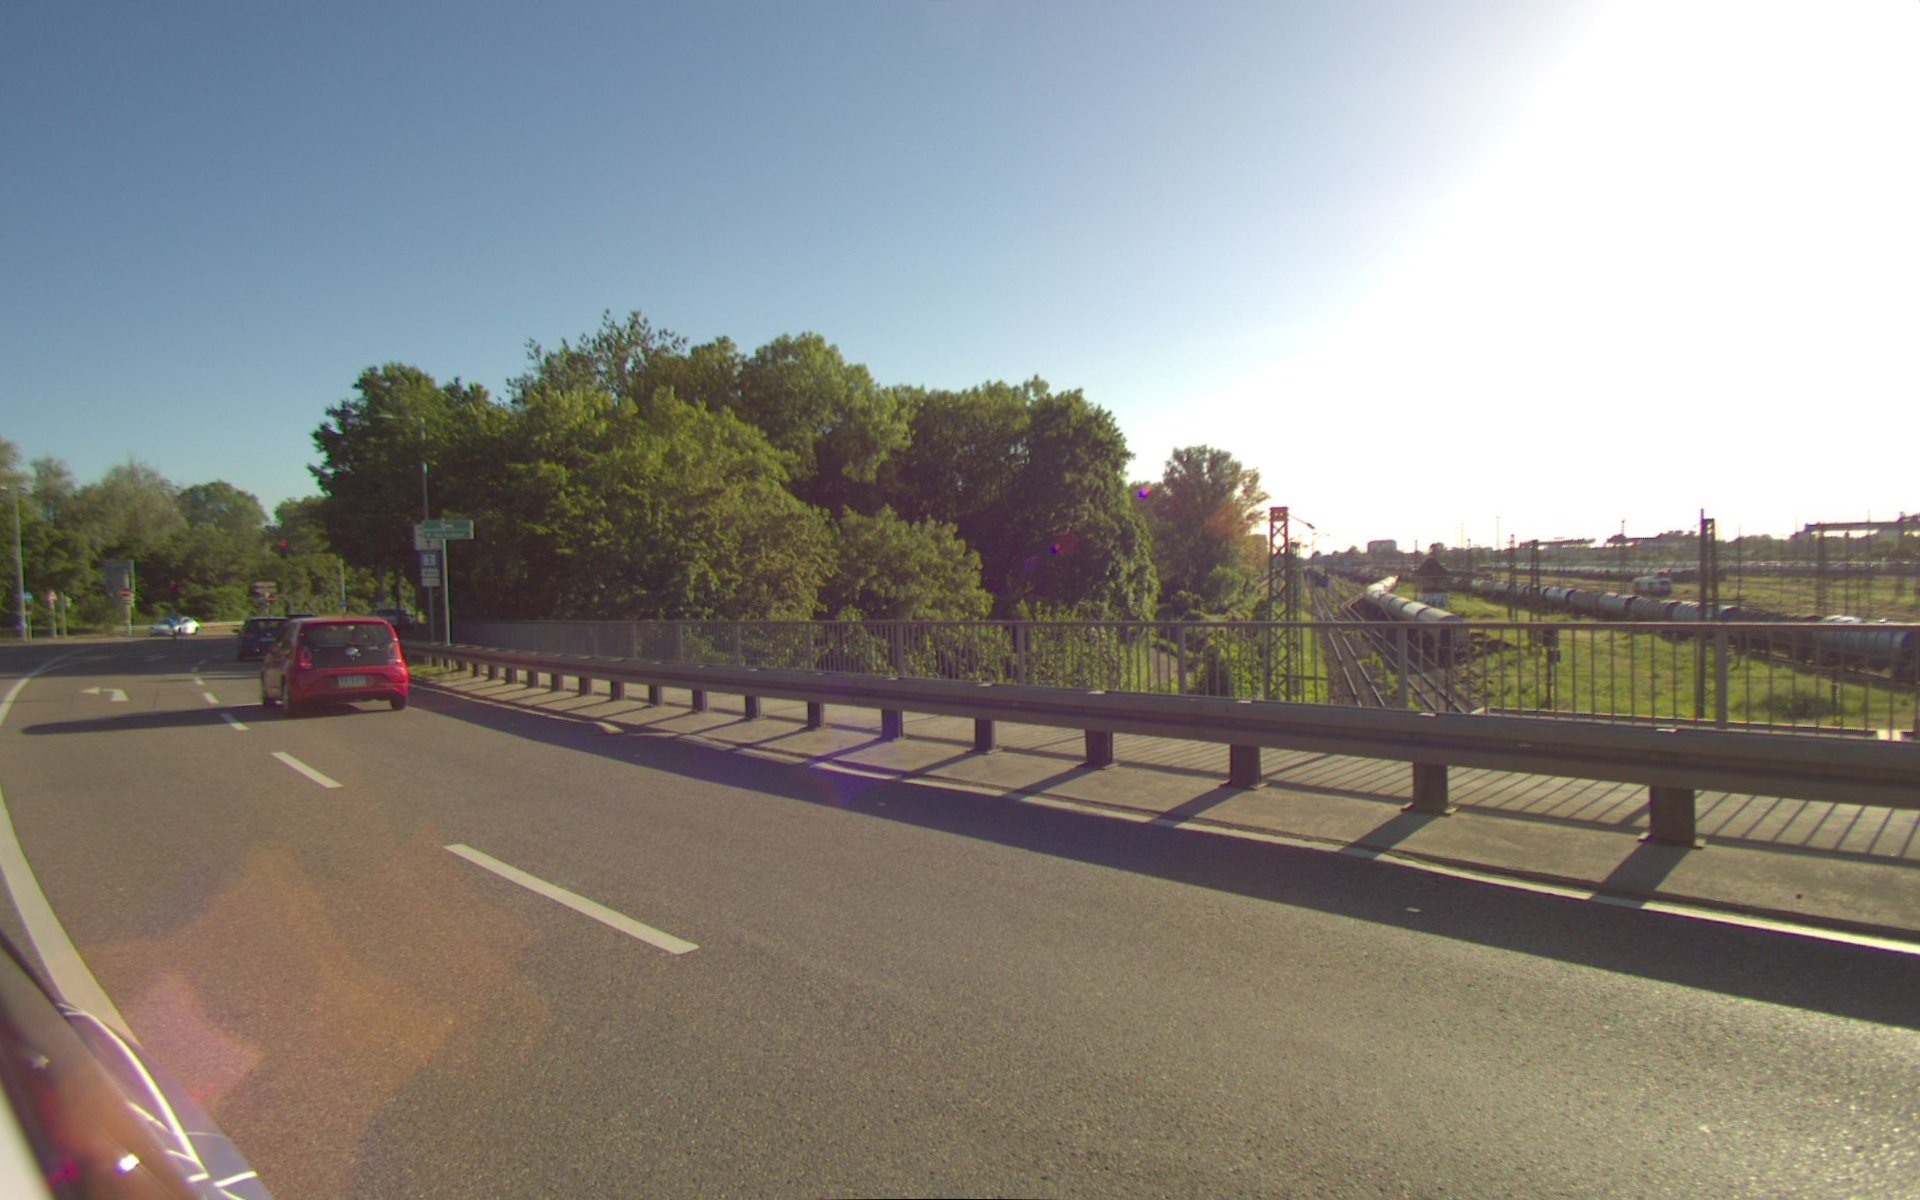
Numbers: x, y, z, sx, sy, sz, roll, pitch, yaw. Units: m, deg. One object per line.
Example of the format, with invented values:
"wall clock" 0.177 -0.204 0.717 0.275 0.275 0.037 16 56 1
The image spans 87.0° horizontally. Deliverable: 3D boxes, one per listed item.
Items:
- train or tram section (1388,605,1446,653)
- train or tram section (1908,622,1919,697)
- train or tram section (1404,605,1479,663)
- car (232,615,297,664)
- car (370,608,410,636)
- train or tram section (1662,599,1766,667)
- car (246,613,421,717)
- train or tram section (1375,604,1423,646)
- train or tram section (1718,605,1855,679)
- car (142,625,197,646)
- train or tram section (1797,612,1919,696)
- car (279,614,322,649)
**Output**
"train or tram section" 53.246 3.152 118.546 4.015 5.125 18.082 -1 0 18
"train or tram section" 64.637 4.037 61.406 3.875 5.054 16.266 -1 0 19
"train or tram section" 47.563 3.144 100.723 4.015 5.125 19.240 -1 0 18
"car" -23.402 1.281 34.009 1.701 1.497 4.418 0 -1 -35
"car" -45.139 1.724 80.225 1.921 2.128 5.287 1 -1 -20
"train or tram section" 80.361 3.272 108.461 3.875 6.661 16.403 -1 0 19
"car" -10.142 0.940 16.260 1.760 1.448 3.880 0 -1 -42
"train or tram section" 58.642 3.159 135.619 4.015 5.125 17.764 -1 0 18
"train or tram section" 75.097 3.546 92.685 3.875 6.055 16.856 -1 0 19
"car" -60.955 2.716 78.098 1.961 1.484 4.142 -1 0 -16
"train or tram section" 69.809 3.791 76.904 3.875 5.560 16.403 -1 0 19
"car" -33.679 1.576 51.688 1.780 1.650 4.011 0 0 -33
